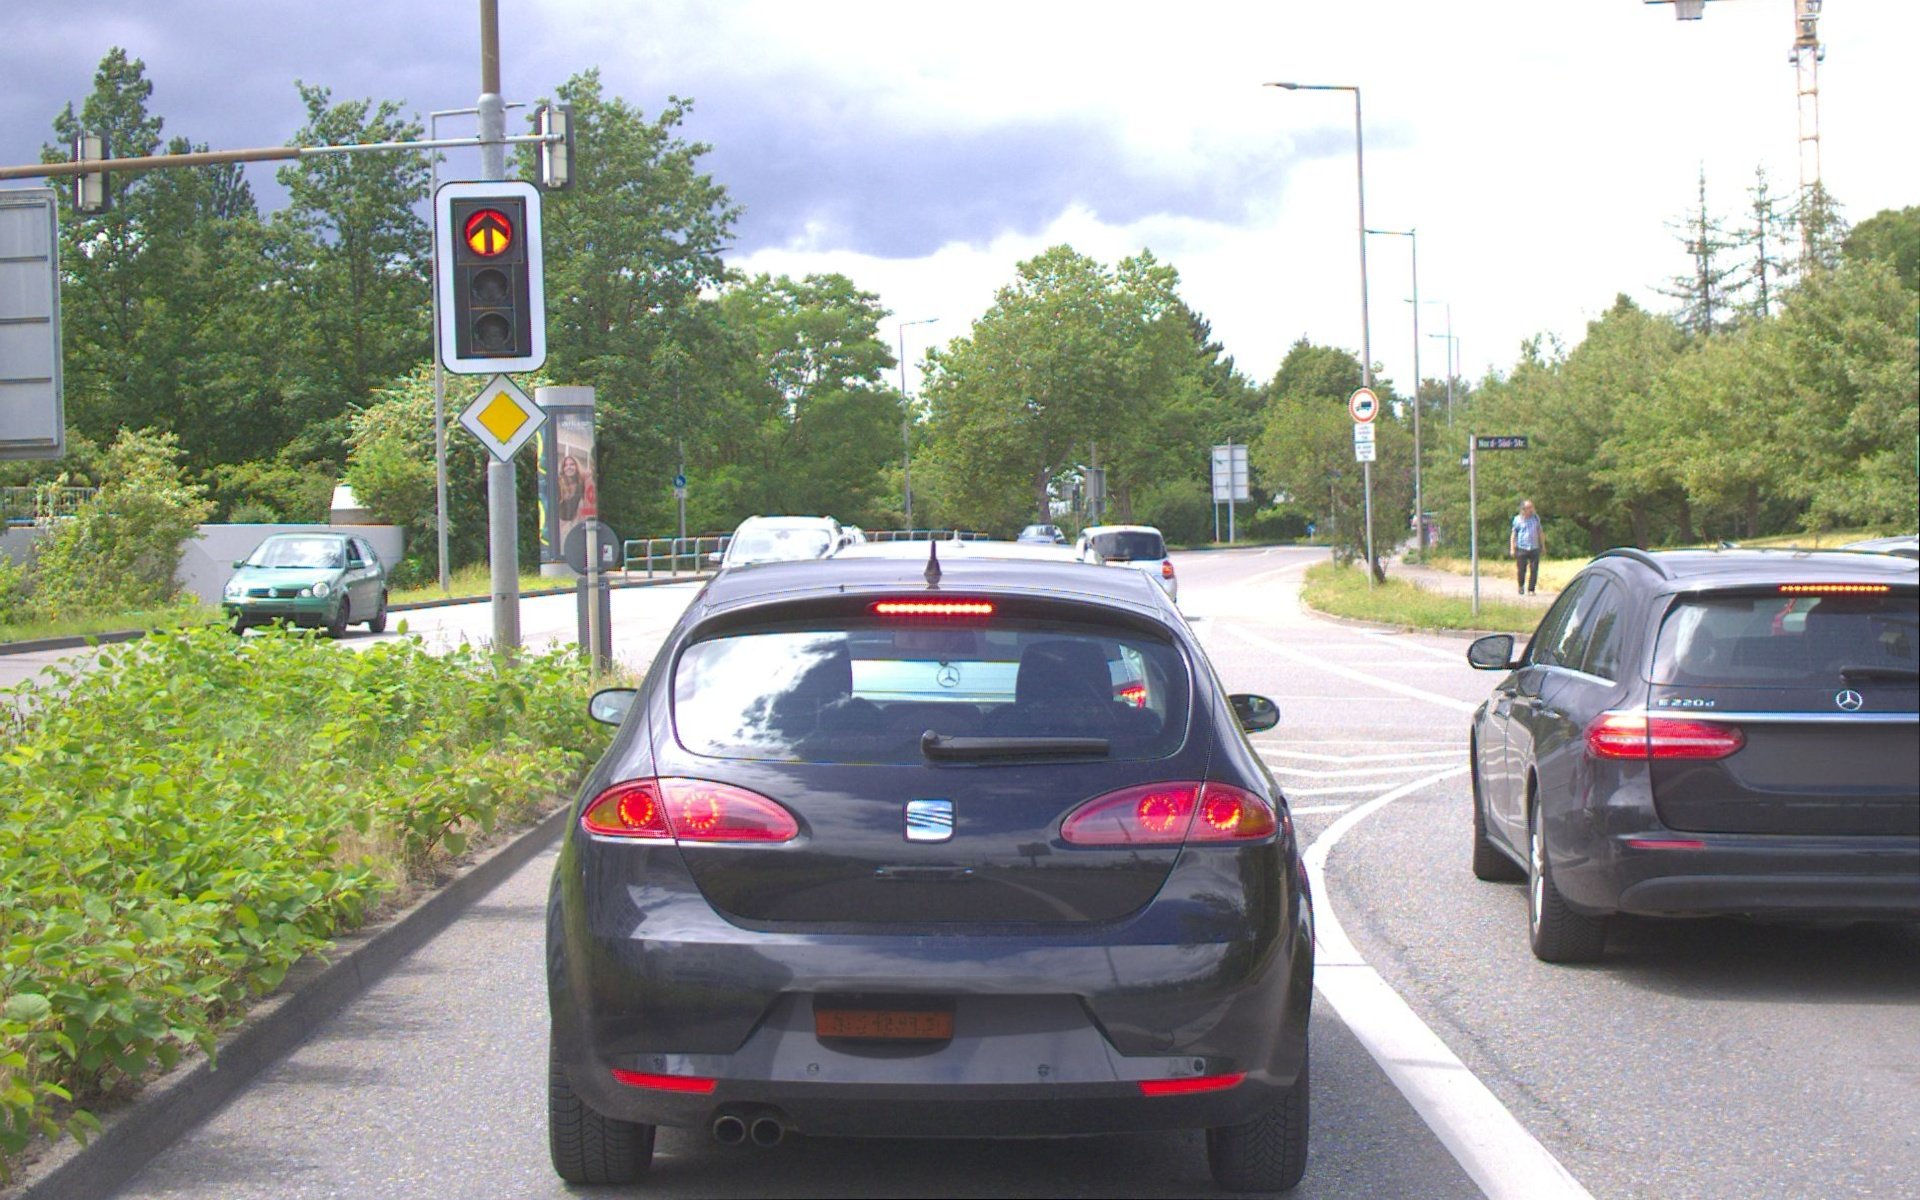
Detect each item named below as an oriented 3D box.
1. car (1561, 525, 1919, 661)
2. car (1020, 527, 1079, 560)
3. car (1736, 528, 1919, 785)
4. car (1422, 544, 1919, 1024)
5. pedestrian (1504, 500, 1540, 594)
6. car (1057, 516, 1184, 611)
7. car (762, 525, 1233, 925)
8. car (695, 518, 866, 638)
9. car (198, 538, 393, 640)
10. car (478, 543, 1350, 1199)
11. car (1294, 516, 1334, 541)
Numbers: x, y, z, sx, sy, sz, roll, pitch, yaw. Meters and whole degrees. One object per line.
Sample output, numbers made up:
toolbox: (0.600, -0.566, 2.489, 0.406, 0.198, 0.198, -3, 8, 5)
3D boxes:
car: (9.513, -0.105, 41.064, 4.304, 1.520, 2.000, -1, 1, 1)
car: (3.698, -2.330, 141.535, 1.994, 1.347, 3.999, 0, 1, 8)
car: (6.988, 0.280, 22.512, 1.867, 1.513, 4.436, 0, 2, 40)
car: (2.983, 0.543, 13.454, 1.873, 1.436, 5.200, -1, 1, 3)
pedestrian: (10.390, -0.979, 63.558, 0.559, 1.720, 0.588, 0, 1, 1)
car: (2.668, -0.633, 57.829, 1.993, 1.525, 4.000, 0, 1, 1)
car: (0.062, 0.438, 14.977, 1.773, 1.486, 3.583, -2, 1, -3)
car: (-2.467, -0.338, 48.126, 1.994, 1.590, 4.000, 0, 1, 3)
car: (-9.260, -0.185, 48.193, 1.993, 1.347, 4.000, 0, 1, -1)
car: (-0.113, 0.594, 8.801, 1.773, 1.447, 3.582, 0, 1, -1)
car: (18.941, -3.833, 183.851, 1.994, 1.347, 3.999, 0, 1, 8)
